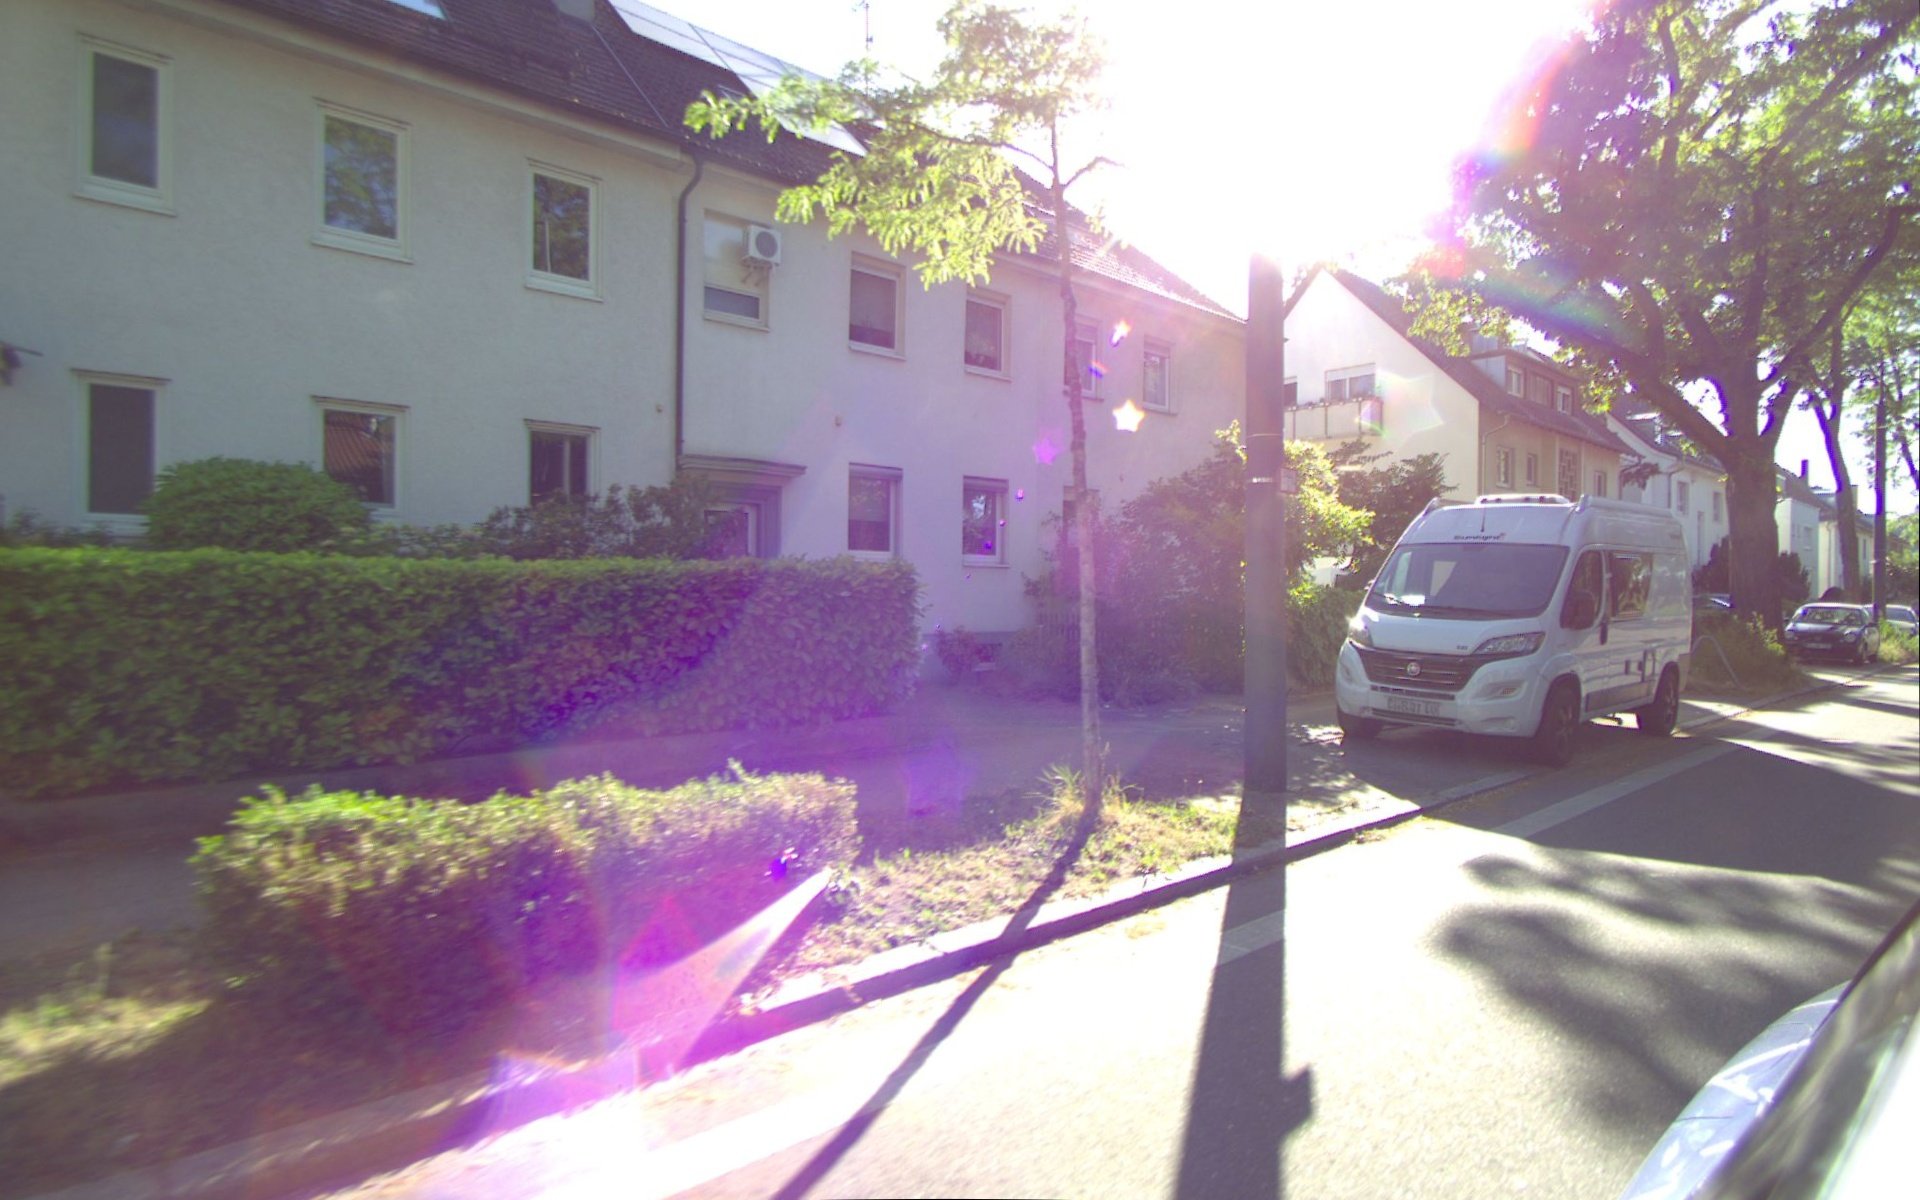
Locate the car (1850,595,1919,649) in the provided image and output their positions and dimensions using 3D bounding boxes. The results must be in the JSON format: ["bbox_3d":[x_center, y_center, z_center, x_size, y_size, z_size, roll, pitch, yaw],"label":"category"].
[{"bbox_3d":[29.163,0.650,31.448,4.228,1.466,1.787,0,4,-43],"label":"car"}]

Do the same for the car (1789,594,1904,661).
[{"bbox_3d":[21.957,0.638,25.040,3.582,1.414,1.630,0,3,-41],"label":"car"}]

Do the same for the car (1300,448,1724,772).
[{"bbox_3d":[6.227,0.030,11.062,5.488,2.686,2.250,0,2,-41],"label":"car"}]

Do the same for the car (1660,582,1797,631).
[{"bbox_3d":[28.049,0.203,37.002,3.741,1.507,1.712,5,4,44],"label":"car"}]

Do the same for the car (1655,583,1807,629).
[{"bbox_3d":[30.458,0.193,40.092,1.824,1.507,4.435,1,3,-38],"label":"car"}]
